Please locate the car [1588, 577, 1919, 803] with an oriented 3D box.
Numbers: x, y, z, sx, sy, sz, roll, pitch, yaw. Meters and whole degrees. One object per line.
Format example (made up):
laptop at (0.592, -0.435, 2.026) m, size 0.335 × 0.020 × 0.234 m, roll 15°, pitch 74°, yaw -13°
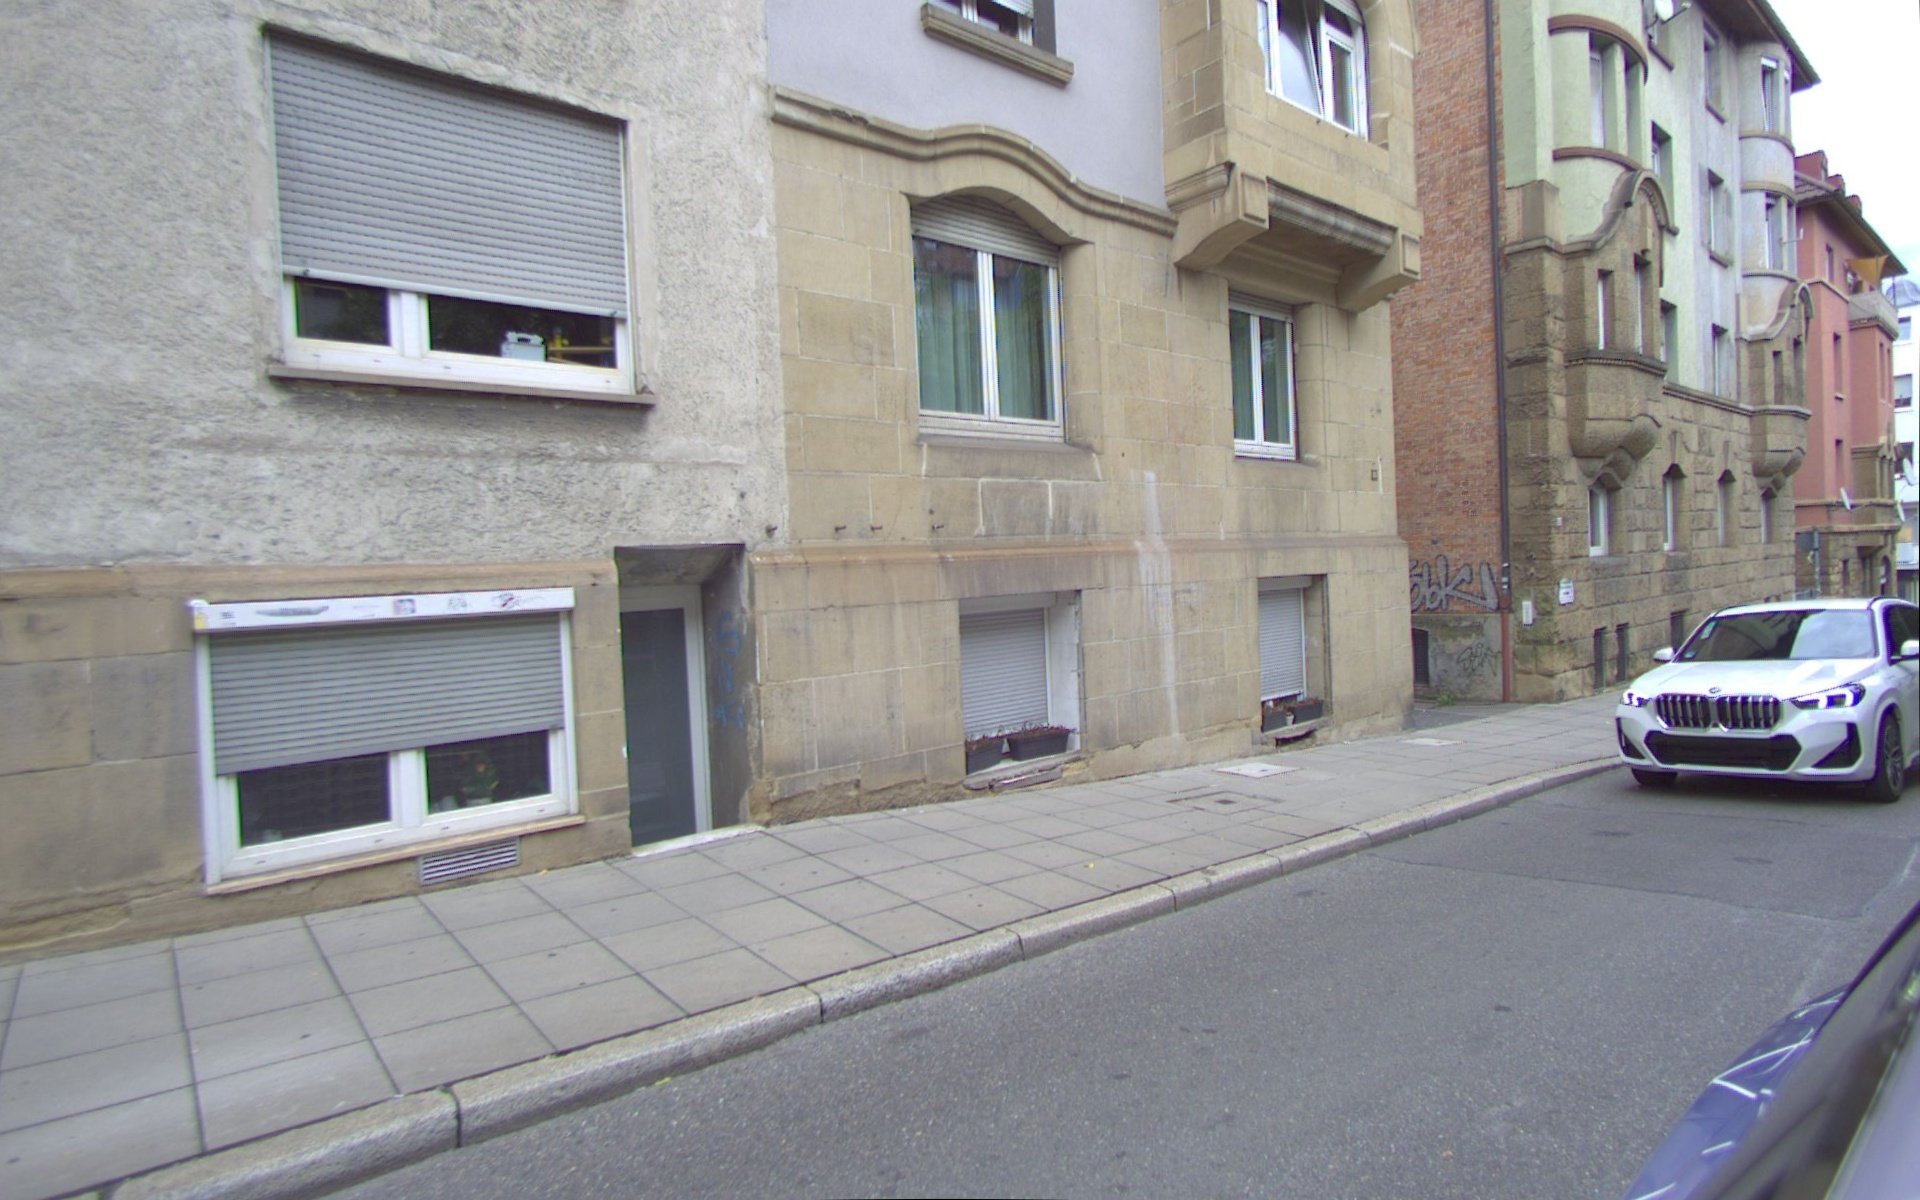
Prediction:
car at (7.935, 0.681, 9.371) m, size 4.476 × 1.626 × 1.855 m, roll -1°, pitch -4°, yaw -34°
